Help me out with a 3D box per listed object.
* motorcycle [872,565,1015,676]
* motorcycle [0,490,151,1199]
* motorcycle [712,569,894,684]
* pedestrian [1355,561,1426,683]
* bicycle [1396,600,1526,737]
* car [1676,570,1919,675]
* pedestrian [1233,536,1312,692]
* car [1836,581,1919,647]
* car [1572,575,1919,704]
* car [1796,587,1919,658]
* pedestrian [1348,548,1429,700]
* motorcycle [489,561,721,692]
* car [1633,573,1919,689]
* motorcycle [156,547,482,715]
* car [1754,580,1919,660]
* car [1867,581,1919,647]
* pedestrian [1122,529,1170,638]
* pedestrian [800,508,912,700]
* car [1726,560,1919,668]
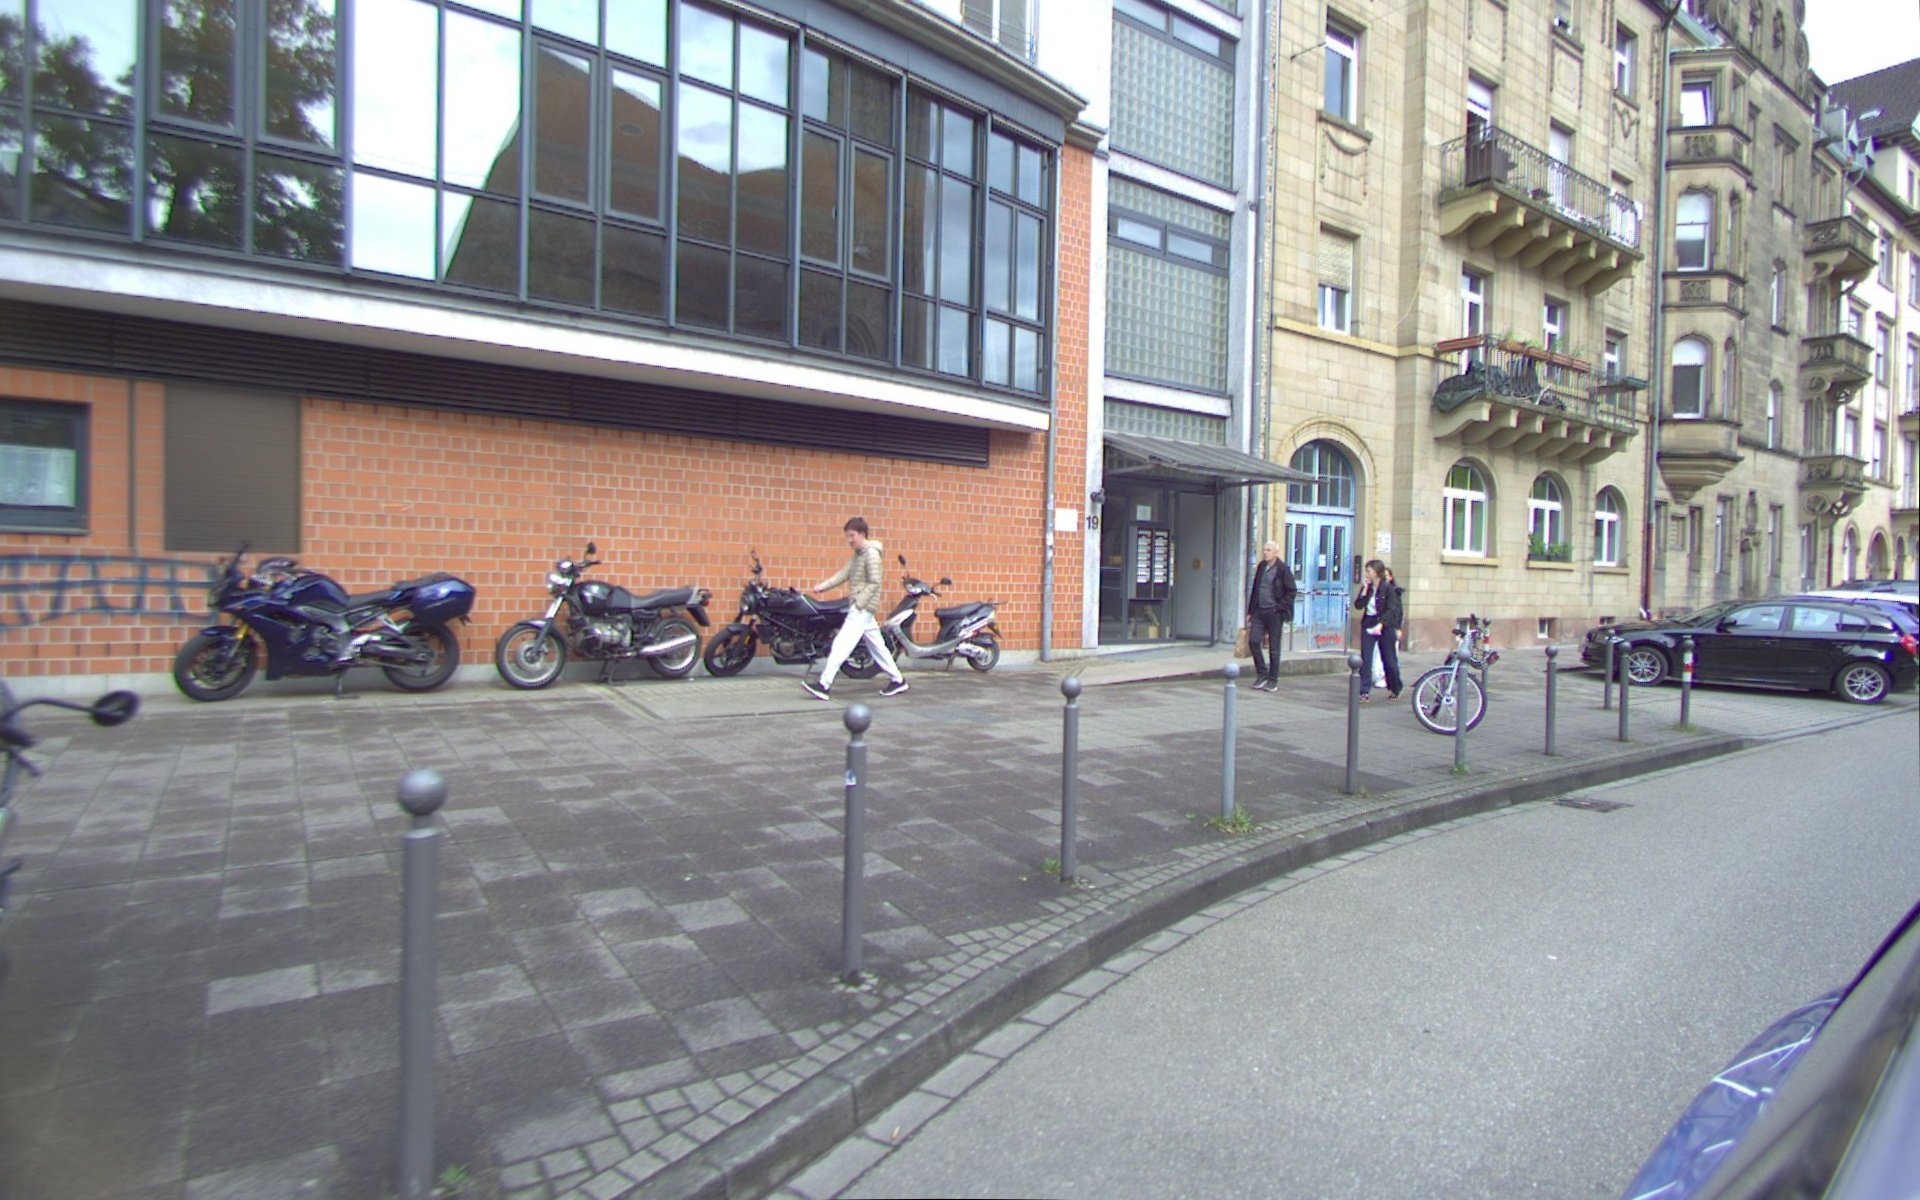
[{"bbox_3d":[-0.207,0.235,11.949,1.534,1.208,0.604,3,1,-12],"label":"motorcycle"},{"bbox_3d":[-2.588,0.473,2.577,0.757,1.447,2.140,-1,3,-37],"label":"motorcycle"},{"bbox_3d":[-1.670,0.273,10.830,1.843,1.158,0.604,1,2,-9],"label":"motorcycle"},{"bbox_3d":[5.615,0.268,13.198,0.704,1.528,0.520,-1,4,-38],"label":"pedestrian"},{"bbox_3d":[4.860,0.610,9.943,0.719,1.117,1.730,3,3,13],"label":"bicycle"},{"bbox_3d":[16.165,0.400,18.985,3.945,1.620,1.757,5,3,16],"label":"car"},{"bbox_3d":[3.727,0.143,12.084,0.531,1.792,0.645,-1,4,-36],"label":"pedestrian"},{"bbox_3d":[25.742,0.456,26.037,4.406,1.593,1.738,4,3,17],"label":"car"},{"bbox_3d":[12.016,0.526,15.482,4.214,1.496,1.672,5,3,23],"label":"car"},{"bbox_3d":[23.320,0.583,24.416,4.405,1.571,1.842,3,2,17],"label":"car"},{"bbox_3d":[4.935,0.254,11.654,0.704,1.682,0.520,-1,4,-38],"label":"pedestrian"},{"bbox_3d":[-3.410,0.229,9.823,2.031,1.158,0.603,0,2,-35],"label":"motorcycle"},{"bbox_3d":[14.087,0.465,17.299,3.962,1.552,1.915,5,3,26],"label":"car"},{"bbox_3d":[-5.264,0.211,8.426,2.167,1.217,1.032,1,2,-36],"label":"motorcycle"},{"bbox_3d":[20.824,0.487,22.791,4.017,1.470,2.022,5,4,17],"label":"car"},{"bbox_3d":[28.388,0.501,27.771,4.693,1.705,1.925,4,4,20],"label":"car"},{"bbox_3d":[3.091,-0.282,16.807,0.558,1.765,0.541,-1,1,-36],"label":"pedestrian"},{"bbox_3d":[-1.018,0.018,9.873,0.797,1.774,0.632,1,4,-38],"label":"pedestrian"},{"bbox_3d":[18.657,0.303,20.680,4.221,1.930,1.872,4,2,14],"label":"car"}]
